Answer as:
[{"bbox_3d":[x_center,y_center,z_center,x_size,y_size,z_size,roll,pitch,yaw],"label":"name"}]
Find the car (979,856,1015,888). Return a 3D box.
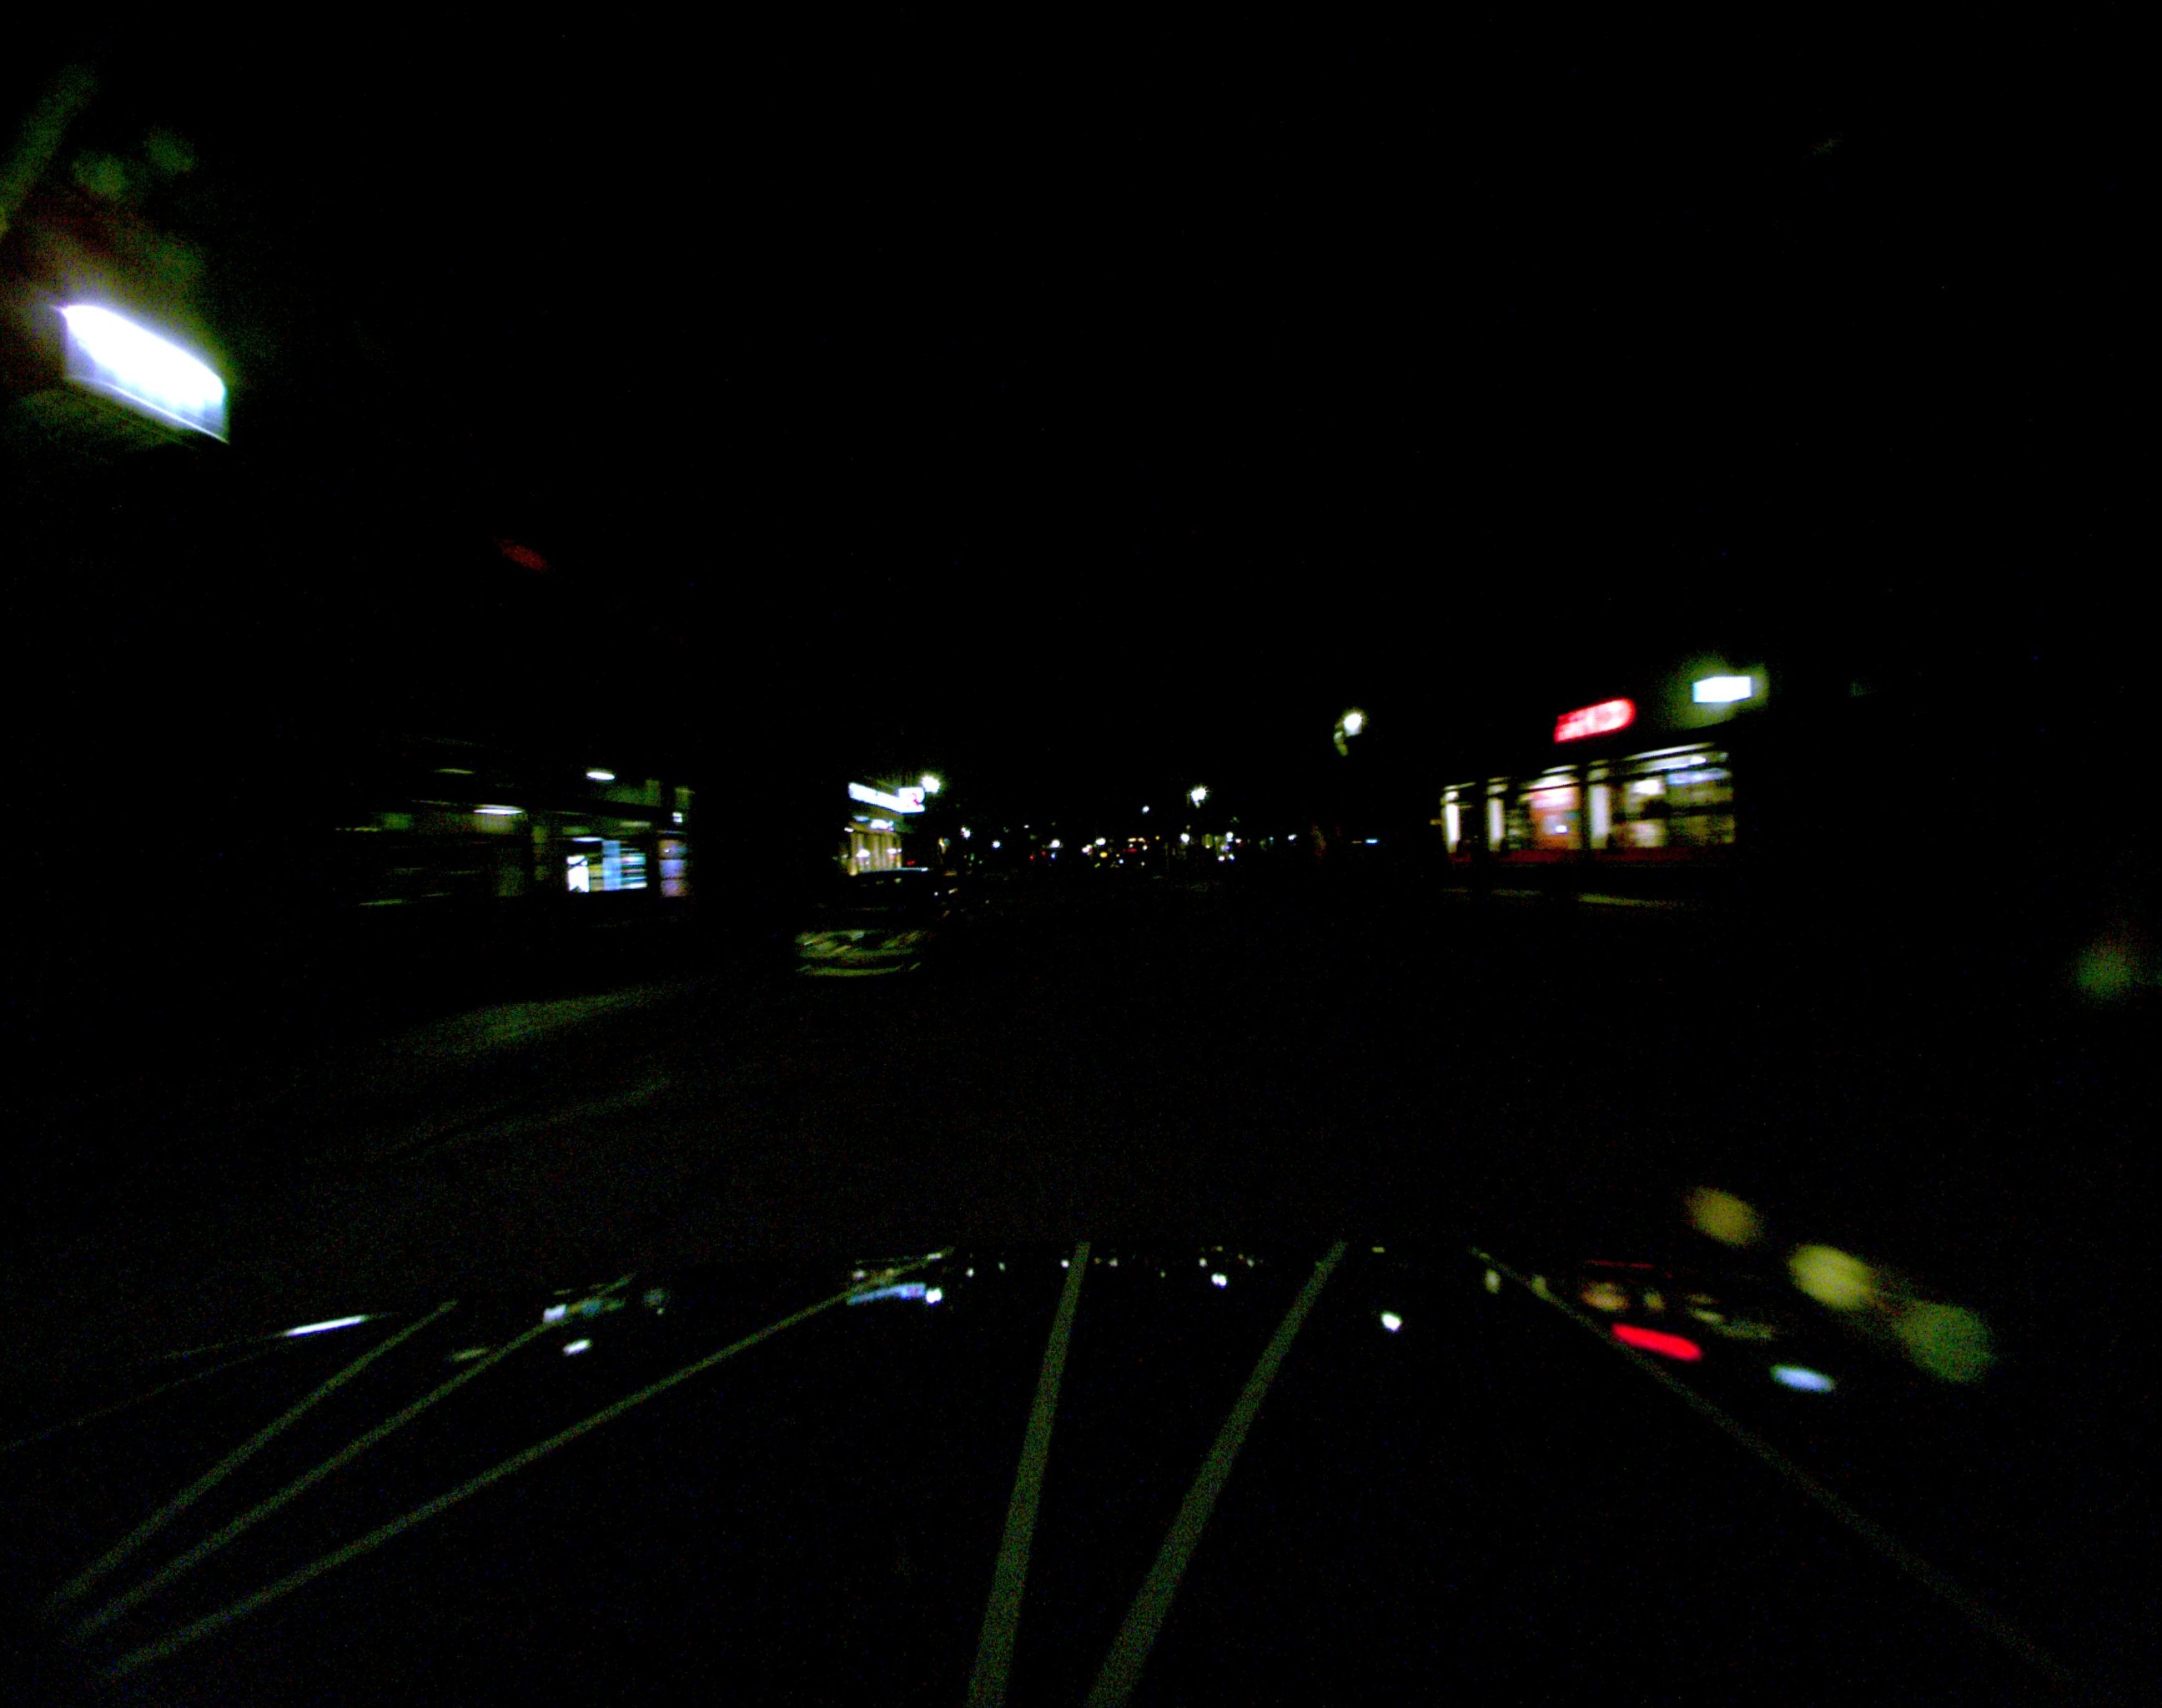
[{"bbox_3d":[-4.507,0.909,40.640,1.747,1.479,4.632,-2,1,-7],"label":"car"}]

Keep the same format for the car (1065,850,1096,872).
[{"bbox_3d":[-0.096,0.524,61.456,1.776,1.565,4.479,-4,1,-8],"label":"car"}]

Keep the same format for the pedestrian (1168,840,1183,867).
[{"bbox_3d":[6.734,-0.047,54.232,0.793,1.807,1.024,-4,1,14],"label":"pedestrian"}]

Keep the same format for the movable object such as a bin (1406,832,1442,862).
[{"bbox_3d":[17.457,-0.378,38.714,1.134,1.449,1.227,-3,2,-8],"label":"movable object such as a bin"}]

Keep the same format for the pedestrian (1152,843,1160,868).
[{"bbox_3d":[5.415,0.111,54.814,0.502,1.811,0.504,-2,2,13],"label":"pedestrian"}]

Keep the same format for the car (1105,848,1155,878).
[{"bbox_3d":[2.807,0.504,44.908,1.765,1.628,4.810,-2,0,-11],"label":"car"}]

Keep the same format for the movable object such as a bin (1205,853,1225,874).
[{"bbox_3d":[7.022,0.486,39.810,0.749,1.059,0.791,-2,2,-10],"label":"movable object such as a bin"}]

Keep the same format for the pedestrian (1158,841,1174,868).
[{"bbox_3d":[6.132,0.030,54.764,0.879,1.821,0.791,-4,1,16],"label":"pedestrian"}]

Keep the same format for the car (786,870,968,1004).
[{"bbox_3d":[-2.738,1.021,11.247,1.739,1.432,4.494,-2,0,-4],"label":"car"}]

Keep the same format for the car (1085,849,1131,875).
[{"bbox_3d":[1.734,0.507,50.611,1.912,1.533,4.777,-3,1,-12],"label":"car"}]
